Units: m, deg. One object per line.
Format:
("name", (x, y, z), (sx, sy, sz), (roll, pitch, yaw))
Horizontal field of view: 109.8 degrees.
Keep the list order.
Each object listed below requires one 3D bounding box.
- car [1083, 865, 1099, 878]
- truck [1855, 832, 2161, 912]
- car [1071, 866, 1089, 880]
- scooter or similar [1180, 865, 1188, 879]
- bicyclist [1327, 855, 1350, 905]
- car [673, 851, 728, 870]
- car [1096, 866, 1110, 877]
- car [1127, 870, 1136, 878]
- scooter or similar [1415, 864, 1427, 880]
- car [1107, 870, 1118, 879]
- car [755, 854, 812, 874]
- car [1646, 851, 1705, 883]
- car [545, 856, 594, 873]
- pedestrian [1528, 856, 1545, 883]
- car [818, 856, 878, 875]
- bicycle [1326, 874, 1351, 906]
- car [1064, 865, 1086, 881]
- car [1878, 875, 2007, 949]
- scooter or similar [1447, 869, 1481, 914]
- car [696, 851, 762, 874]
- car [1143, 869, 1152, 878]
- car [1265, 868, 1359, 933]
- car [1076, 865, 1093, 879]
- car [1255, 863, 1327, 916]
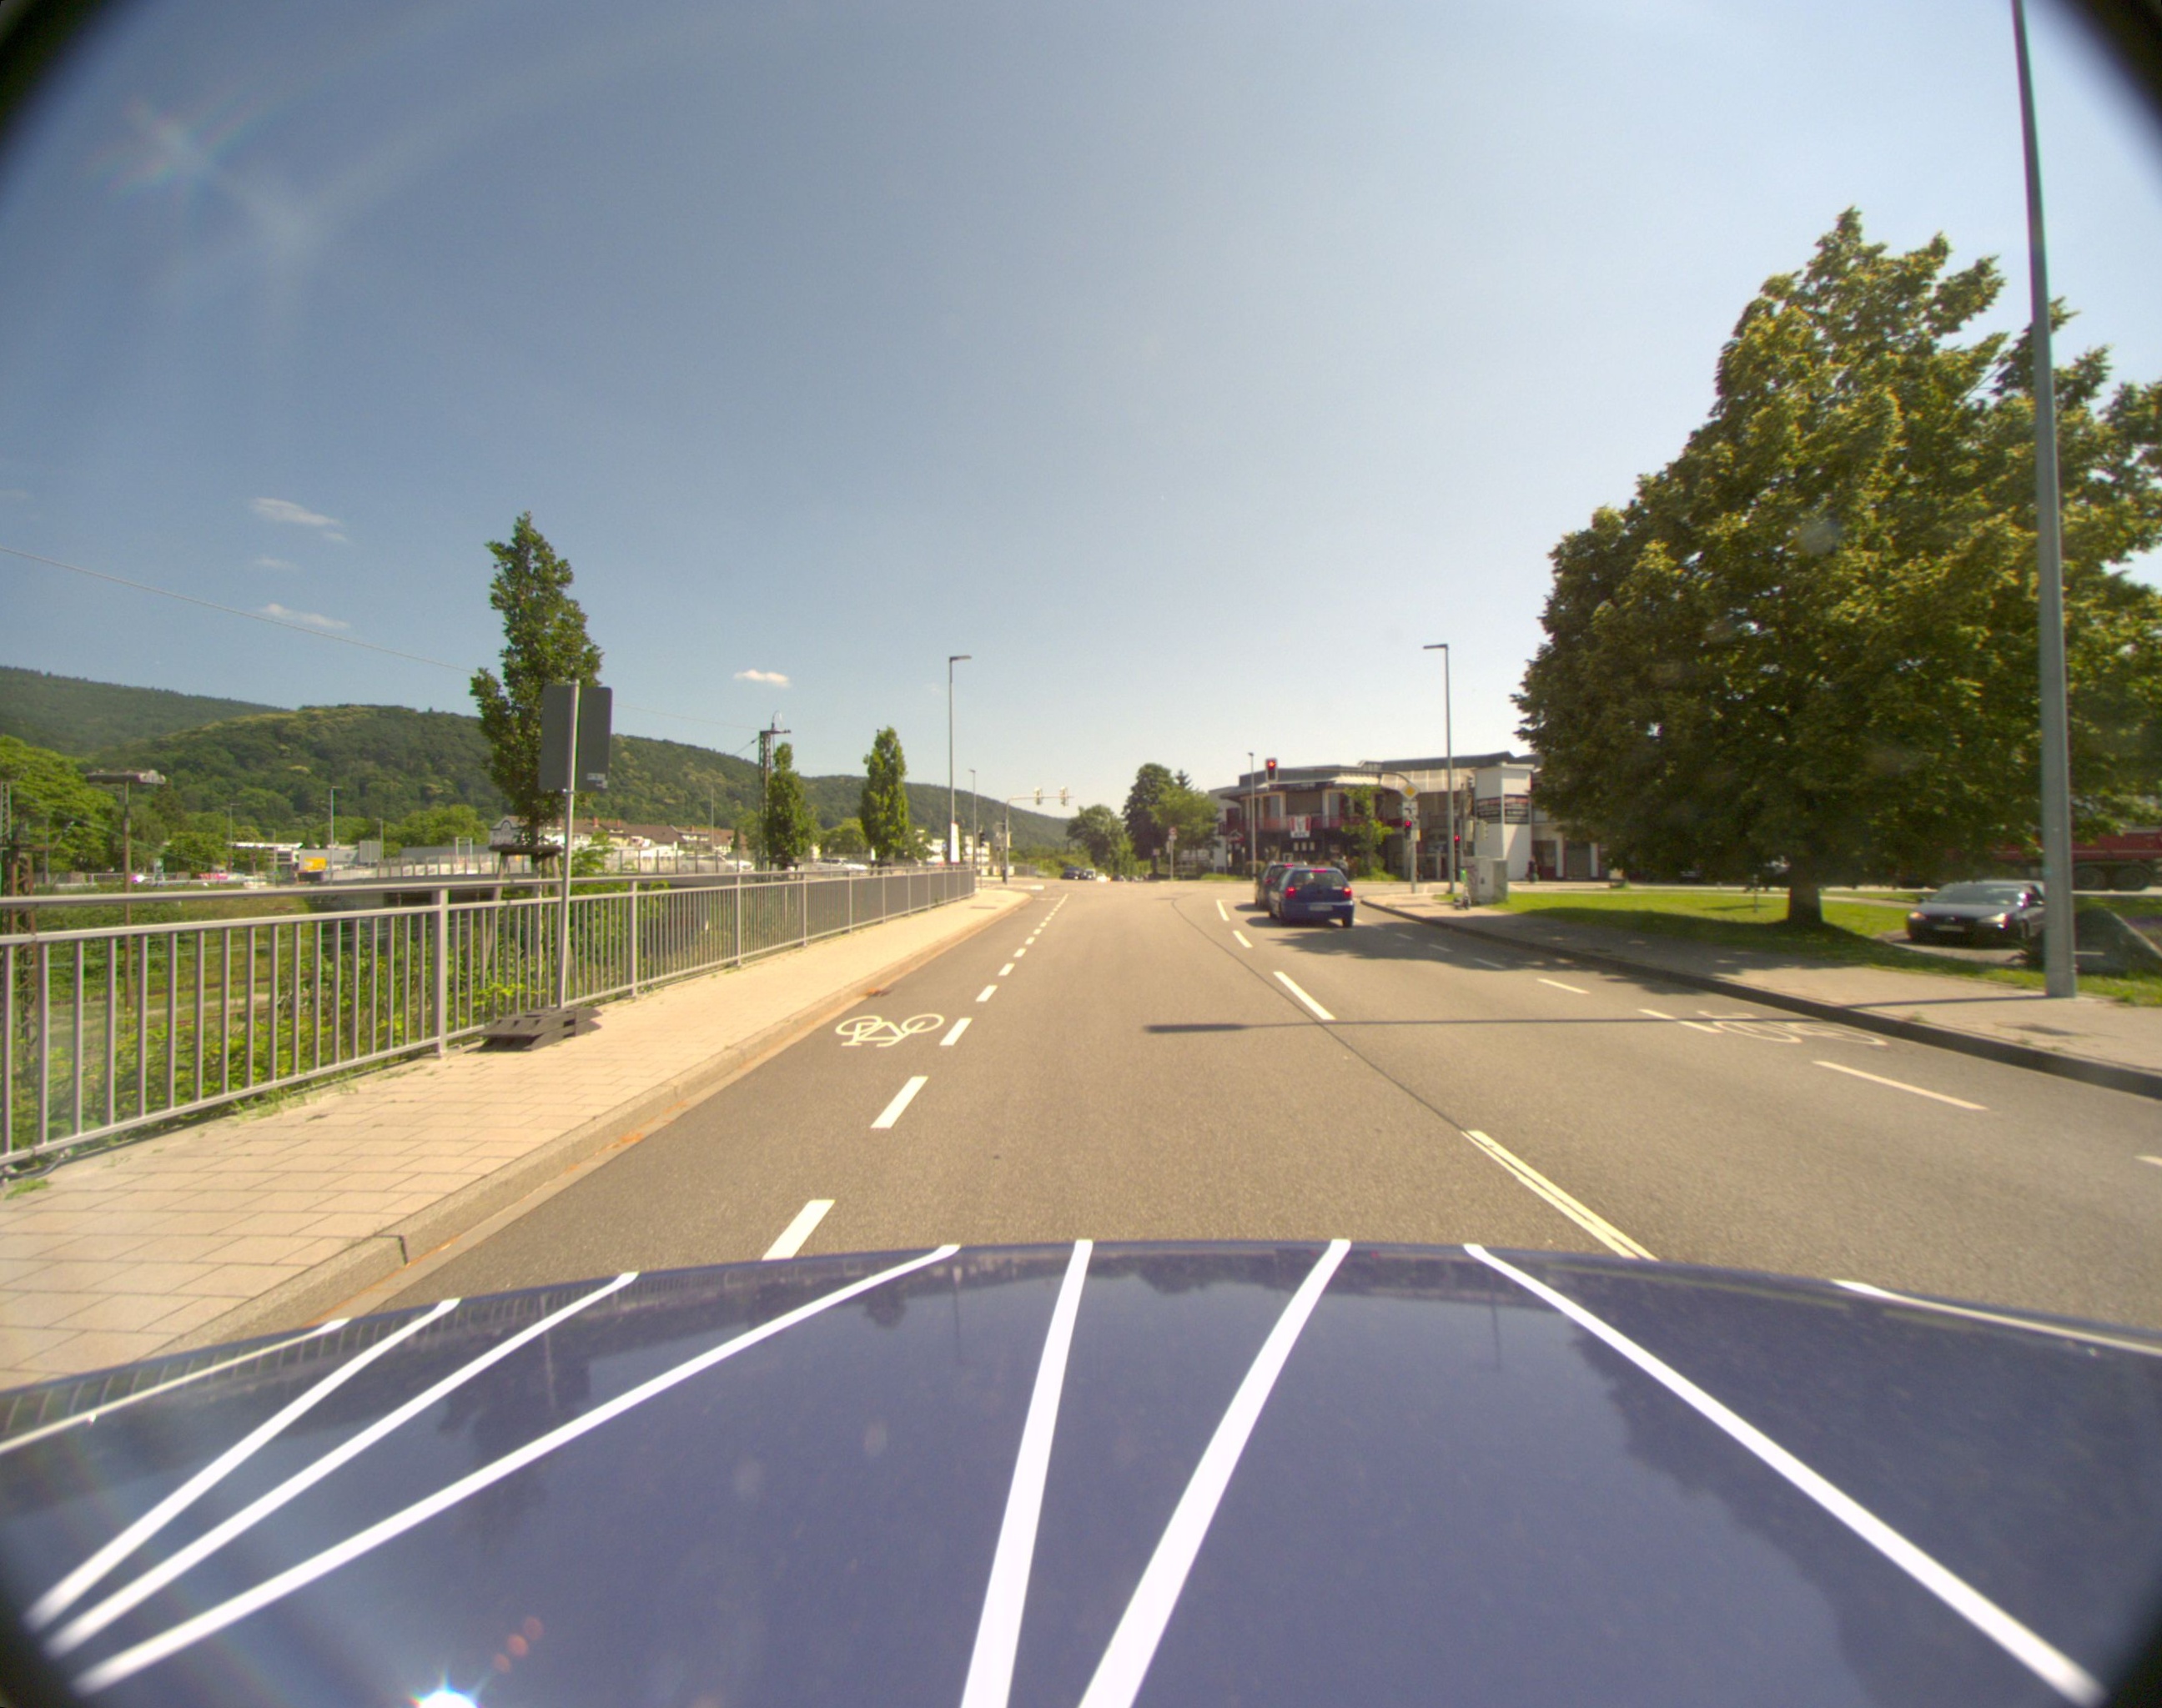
("car", (1.245, 2.154, 94.269), (1.671, 1.625, 4.002), (0, -1, 5))
("truck", (42.970, 0.839, 35.342), (9.145, 3.366, 3.321), (-1, -1, 26))
("car", (-0.049, 2.049, 84.017), (1.671, 1.523, 4.002), (0, -1, 5))
("scooter or similar", (8.628, 1.495, 63.739), (0.426, 1.117, 1.454), (0, 0, 19))
("bicyclist", (9.441, 0.948, 27.870), (0.711, 1.778, 0.810), (0, 0, 14))
("car", (-32.776, 0.546, 65.440), (4.432, 1.617, 1.740), (0, 0, 22))
("car", (3.083, 2.421, 106.810), (1.671, 1.523, 4.002), (0, -1, 5))
("car", (9.444, 3.719, 141.375), (1.671, 1.523, 4.002), (0, -1, 5))
("scooter or similar", (23.150, 1.214, 51.782), (0.499, 1.117, 1.507), (0, 0, 33))
("car", (5.218, 3.341, 124.154), (1.671, 1.427, 4.002), (0, -1, 5))
("car", (-24.349, 0.844, 62.246), (4.431, 1.617, 1.740), (0, 0, 25))
("car", (36.056, 0.793, 46.194), (1.804, 1.844, 4.668), (0, -1, 25))
("car", (-49.716, 1.016, 73.835), (4.432, 1.616, 1.740), (-1, -1, 23))
("pedestrian", (27.876, 0.955, 46.498), (0.731, 1.636, 0.844), (0, 0, 45))
("car", (-18.172, 0.878, 59.144), (4.399, 1.461, 1.740), (0, 0, 25))
("bicycle", (9.448, 1.289, 27.922), (0.698, 1.098, 1.757), (1, 0, 13))
("car", (-0.615, 1.984, 79.467), (1.829, 1.617, 4.239), (0, -1, 6))
("car", (21.098, 1.329, 18.770), (4.197, 1.543, 1.860), (0, -1, -45))
("scooter or similar", (10.292, 0.985, 20.449), (0.472, 1.177, 1.367), (0, 0, 12))
("car", (-27.598, 0.687, 59.562), (4.622, 1.709, 2.003), (0, 0, 20))
("car", (13.814, 4.090, 157.954), (1.671, 1.718, 4.003), (-4, -1, 8))
("car", (5.466, 1.033, 18.402), (1.659, 1.372, 4.003), (0, -1, 10))
("car", (0.479, 2.102, 88.995), (1.671, 1.523, 4.002), (0, -1, 5))
("car", (6.488, 1.031, 23.912), (1.782, 1.487, 4.727), (0, -1, 10))
